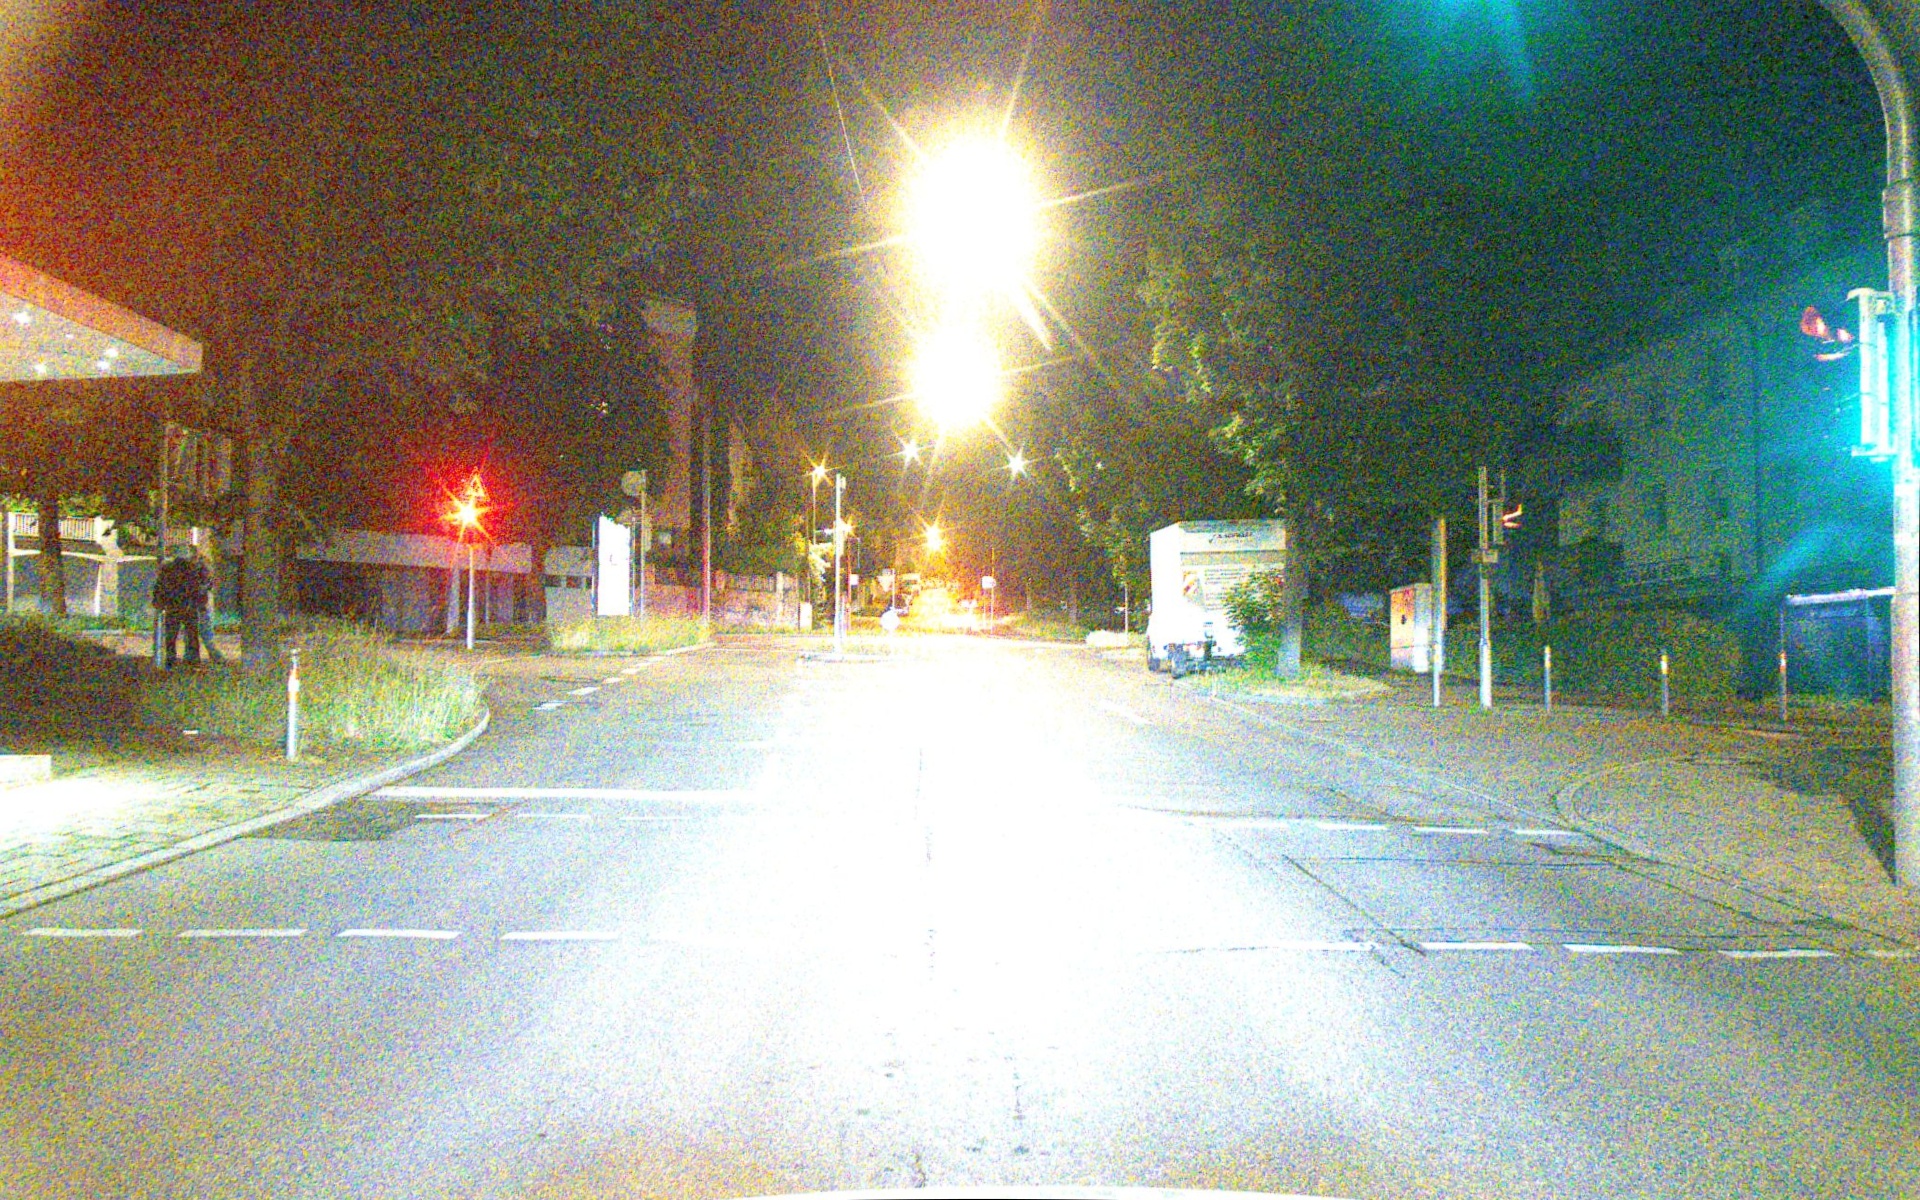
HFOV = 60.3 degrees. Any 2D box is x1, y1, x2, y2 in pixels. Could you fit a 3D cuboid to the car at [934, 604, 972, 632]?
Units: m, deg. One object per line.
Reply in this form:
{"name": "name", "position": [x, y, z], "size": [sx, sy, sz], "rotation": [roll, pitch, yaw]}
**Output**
{"name": "car", "position": [-0.411, 1.019, 93.189], "size": [1.742, 1.512, 3.994], "rotation": [1, 0, -6]}

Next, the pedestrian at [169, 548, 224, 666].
{"name": "pedestrian", "position": [-11.573, 0.103, 25.082], "size": [0.558, 1.761, 0.543], "rotation": [1, -1, -1]}

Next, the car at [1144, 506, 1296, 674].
{"name": "car", "position": [5.251, -0.175, 34.302], "size": [2.249, 3.147, 5.840], "rotation": [-1, 0, 1]}

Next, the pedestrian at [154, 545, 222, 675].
{"name": "pedestrian", "position": [-11.129, 0.143, 23.857], "size": [0.558, 1.808, 0.737], "rotation": [3, -1, -1]}

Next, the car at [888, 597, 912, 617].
{"name": "car", "position": [-4.842, 0.543, 134.272], "size": [1.869, 1.585, 3.903], "rotation": [1, 0, -1]}
